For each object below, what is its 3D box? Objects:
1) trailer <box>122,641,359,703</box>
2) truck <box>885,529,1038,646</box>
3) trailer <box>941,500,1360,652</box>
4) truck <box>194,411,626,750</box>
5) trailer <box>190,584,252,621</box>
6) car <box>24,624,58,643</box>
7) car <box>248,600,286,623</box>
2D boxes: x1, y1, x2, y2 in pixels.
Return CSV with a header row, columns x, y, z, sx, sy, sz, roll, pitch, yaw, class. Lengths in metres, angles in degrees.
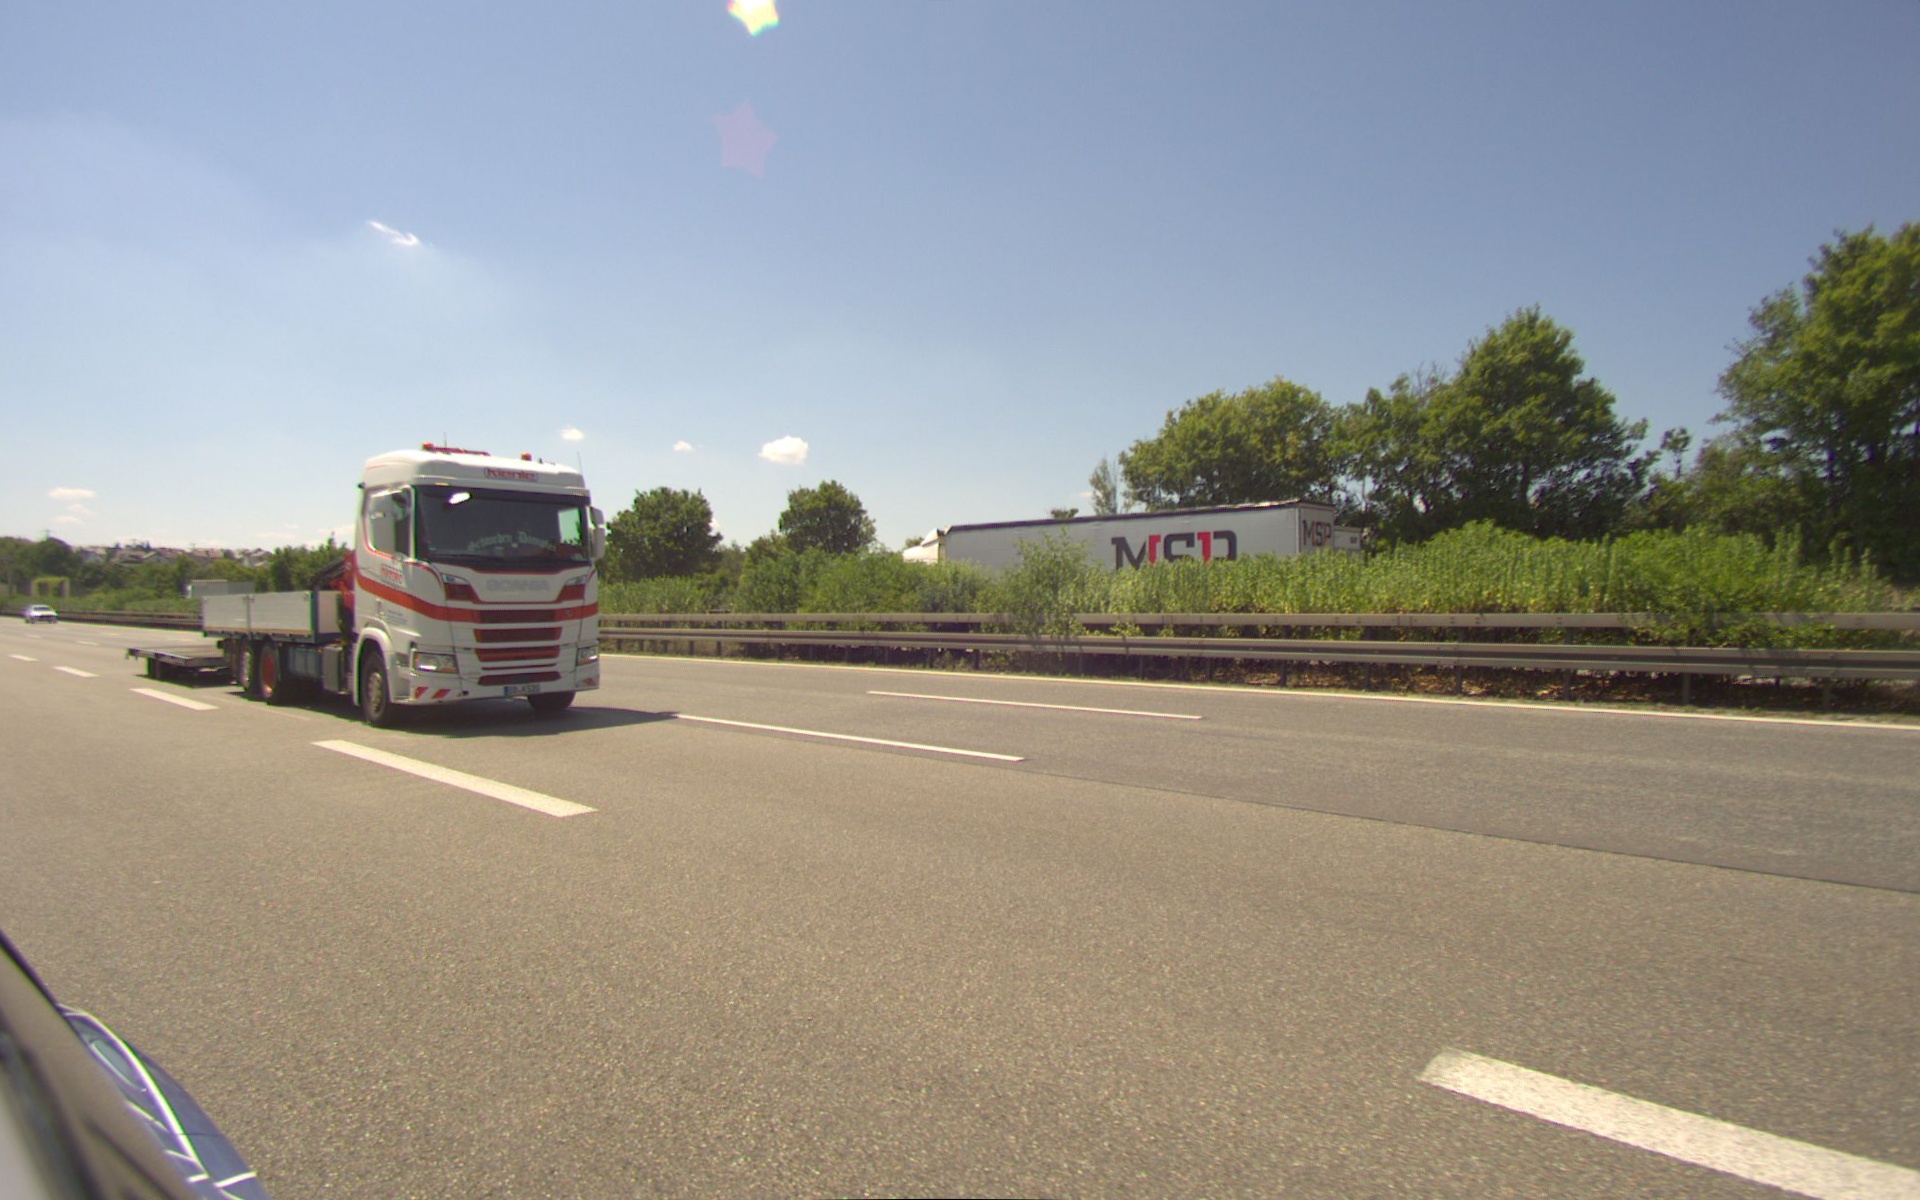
x,y,z,sx,sy,sz,roll,pitch,yaw,class
-16.000,1.469,22.230,7.758,0.941,2.685,-1,0,42,trailer
0.006,-0.410,38.562,4.828,4.121,3.296,-2,-1,43,truck
5.545,-0.534,33.393,13.928,4.121,3.355,-2,-1,43,trailer
-9.288,-0.151,16.060,10.670,3.831,2.685,-1,0,43,truck
-84.828,0.322,116.015,13.708,3.977,2.512,-1,0,40,trailer
-82.379,3.029,90.742,3.999,1.564,1.858,-2,-1,42,car
-64.239,1.064,93.751,3.999,2.029,1.972,2,1,42,car
